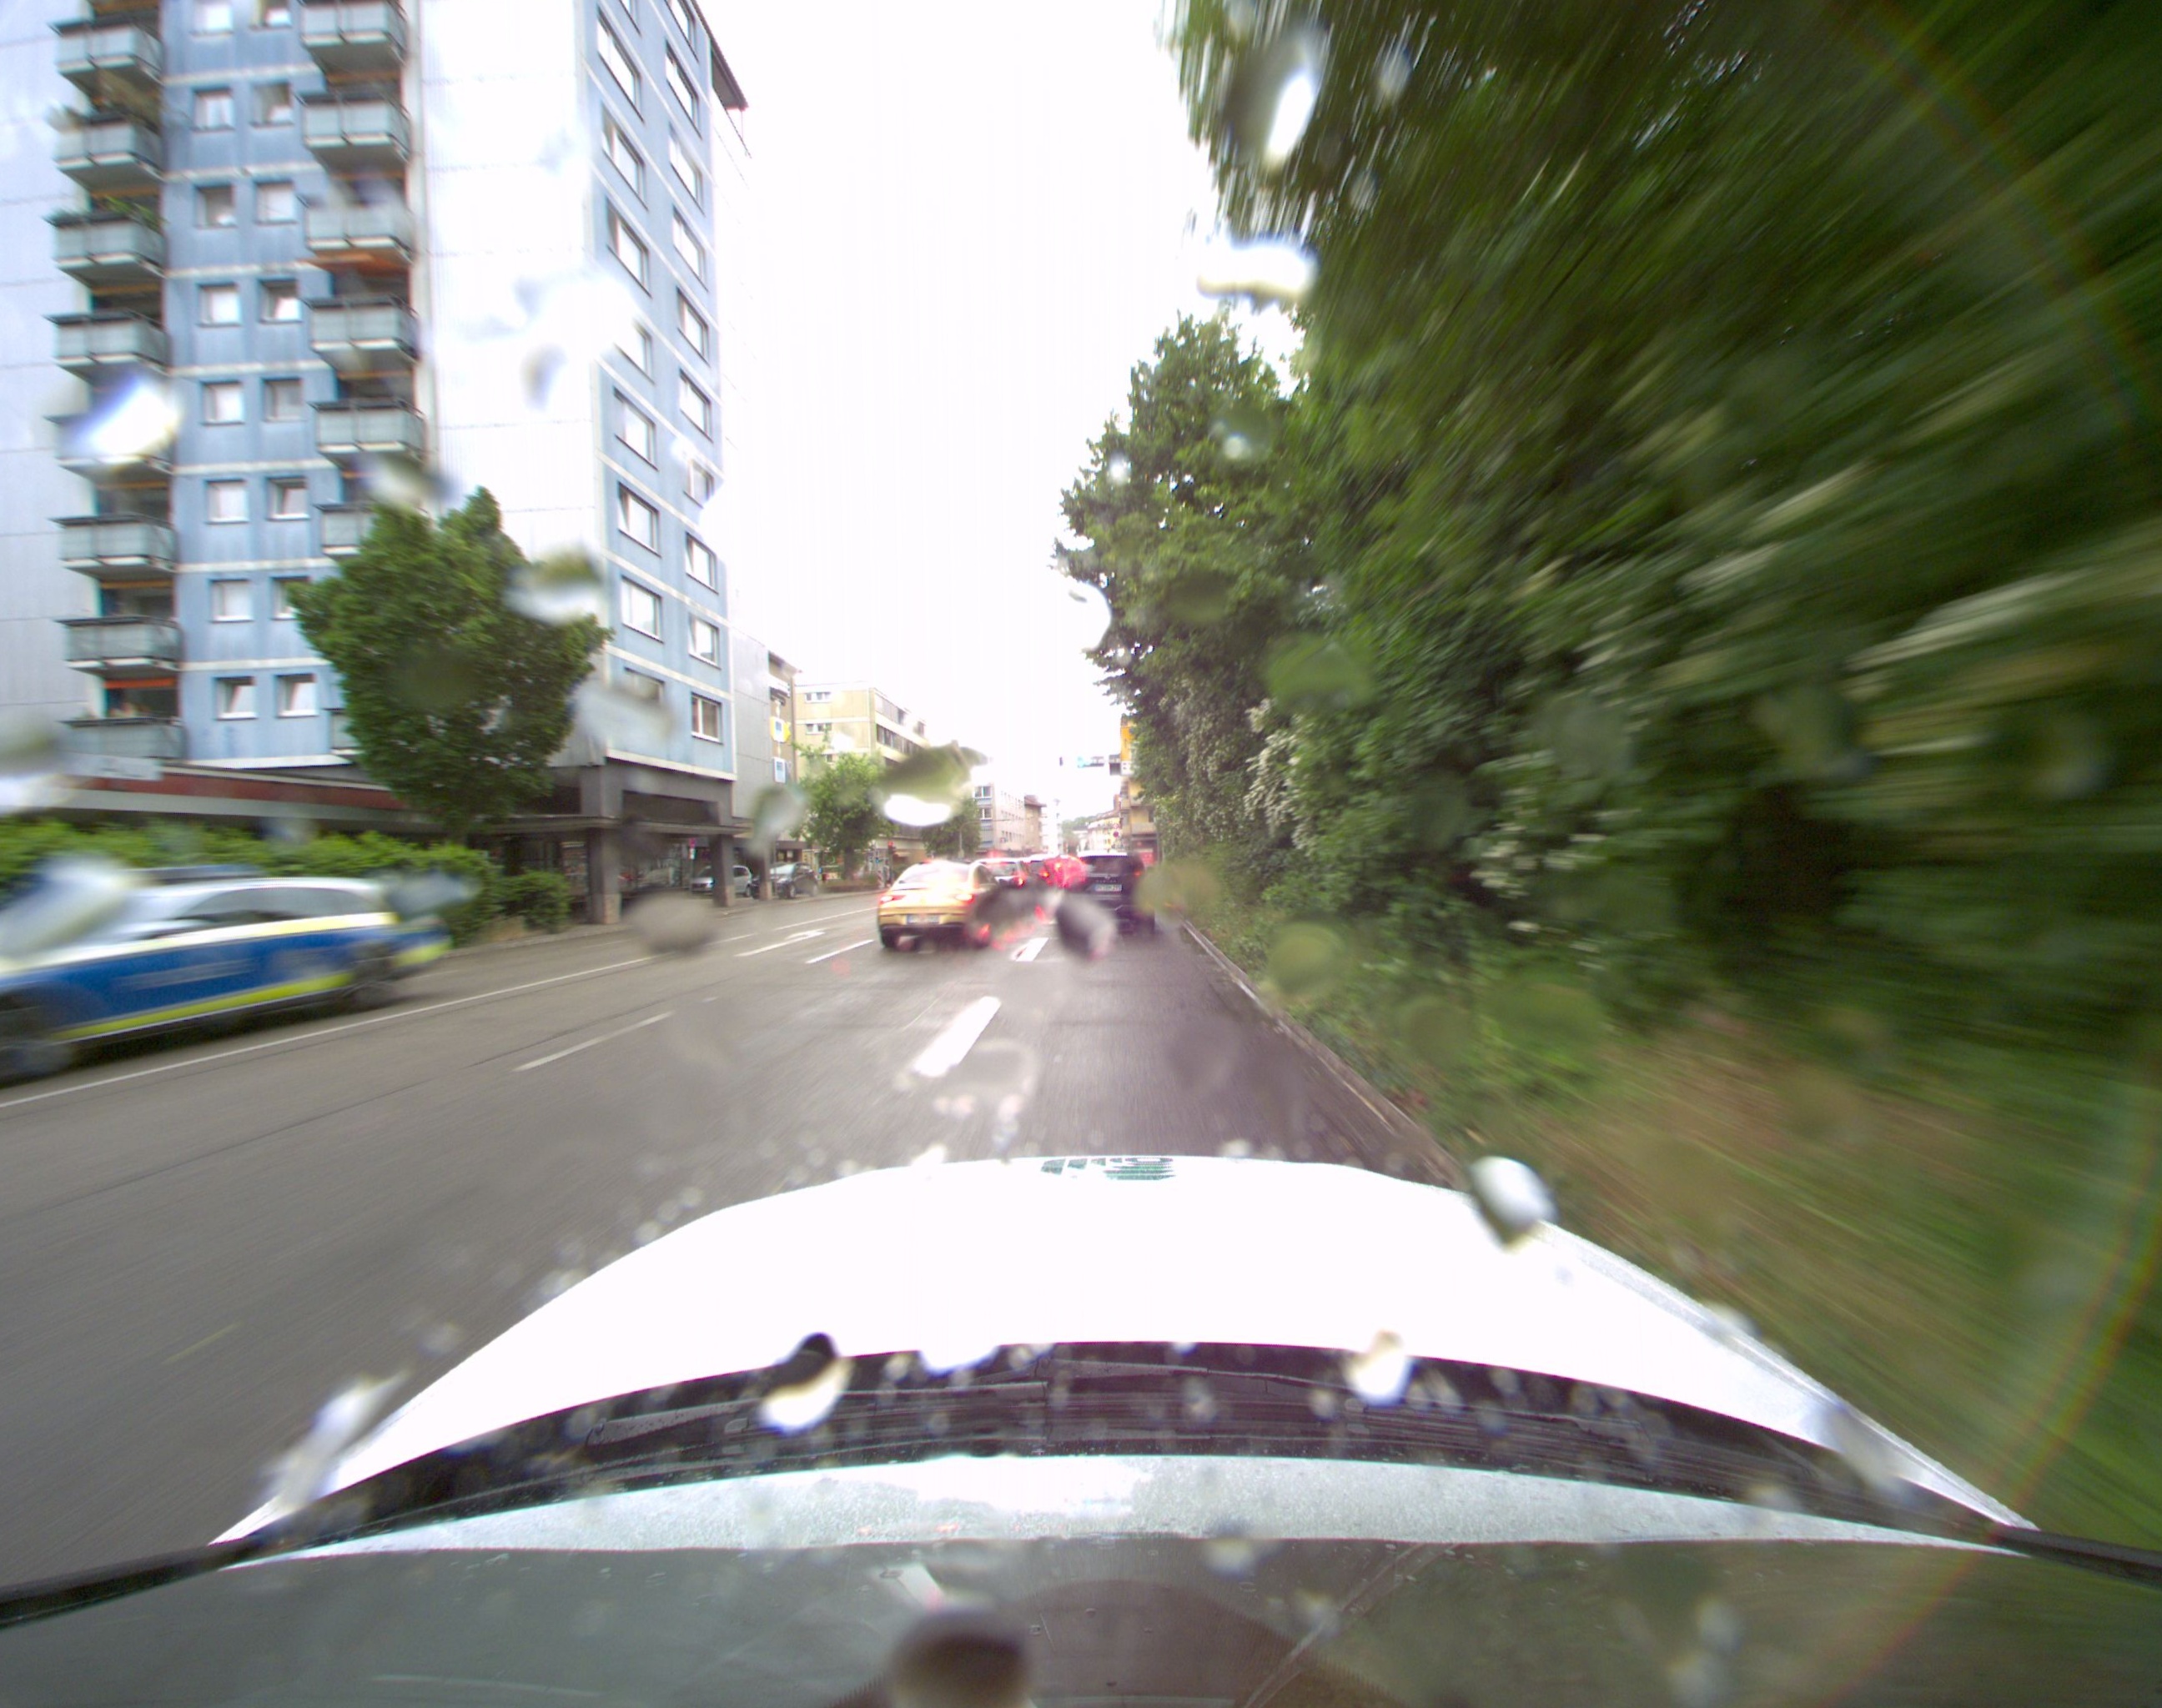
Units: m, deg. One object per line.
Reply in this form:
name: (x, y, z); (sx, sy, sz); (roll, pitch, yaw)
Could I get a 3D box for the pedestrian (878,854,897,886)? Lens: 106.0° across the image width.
pedestrian: (-12.502, 1.008, 52.578); (0.939, 2.013, 0.884); (-4, 0, -7)

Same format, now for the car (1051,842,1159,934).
car: (0.492, 0.619, 17.053); (1.953, 1.653, 4.001); (-2, 0, 1)

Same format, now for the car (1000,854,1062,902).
car: (-1.685, 0.783, 28.773); (1.749, 1.453, 4.002); (-3, 0, 2)

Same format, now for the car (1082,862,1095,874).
car: (1.357, 2.526, 145.860); (1.985, 2.013, 4.004); (-4, 0, 4)

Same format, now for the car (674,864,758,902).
car: (-18.114, 1.389, 40.686); (1.986, 1.655, 4.512); (-2, 0, 1)

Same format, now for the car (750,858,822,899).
car: (-13.392, 1.076, 37.251); (1.533, 1.706, 4.290); (-1, 0, 2)

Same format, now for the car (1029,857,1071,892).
car: (-1.370, 0.872, 36.774); (1.607, 1.420, 3.968); (-2, 0, 1)

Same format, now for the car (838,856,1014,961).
car: (-2.555, 0.841, 14.741); (2.058, 1.464, 4.590); (-2, 0, 3)

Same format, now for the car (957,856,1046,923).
car: (-1.977, 0.850, 21.459); (1.737, 1.487, 4.163); (-3, 0, 2)

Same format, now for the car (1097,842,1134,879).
car: (2.033, 0.374, 48.356); (1.986, 2.013, 4.002); (-2, 0, 2)

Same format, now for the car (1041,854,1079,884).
car: (-1.077, 0.772, 43.645); (1.760, 1.444, 4.002); (-3, 0, 2)

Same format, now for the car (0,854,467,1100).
car: (-8.691, 0.932, 7.643); (1.986, 1.750, 4.810); (-3, 0, 2)
